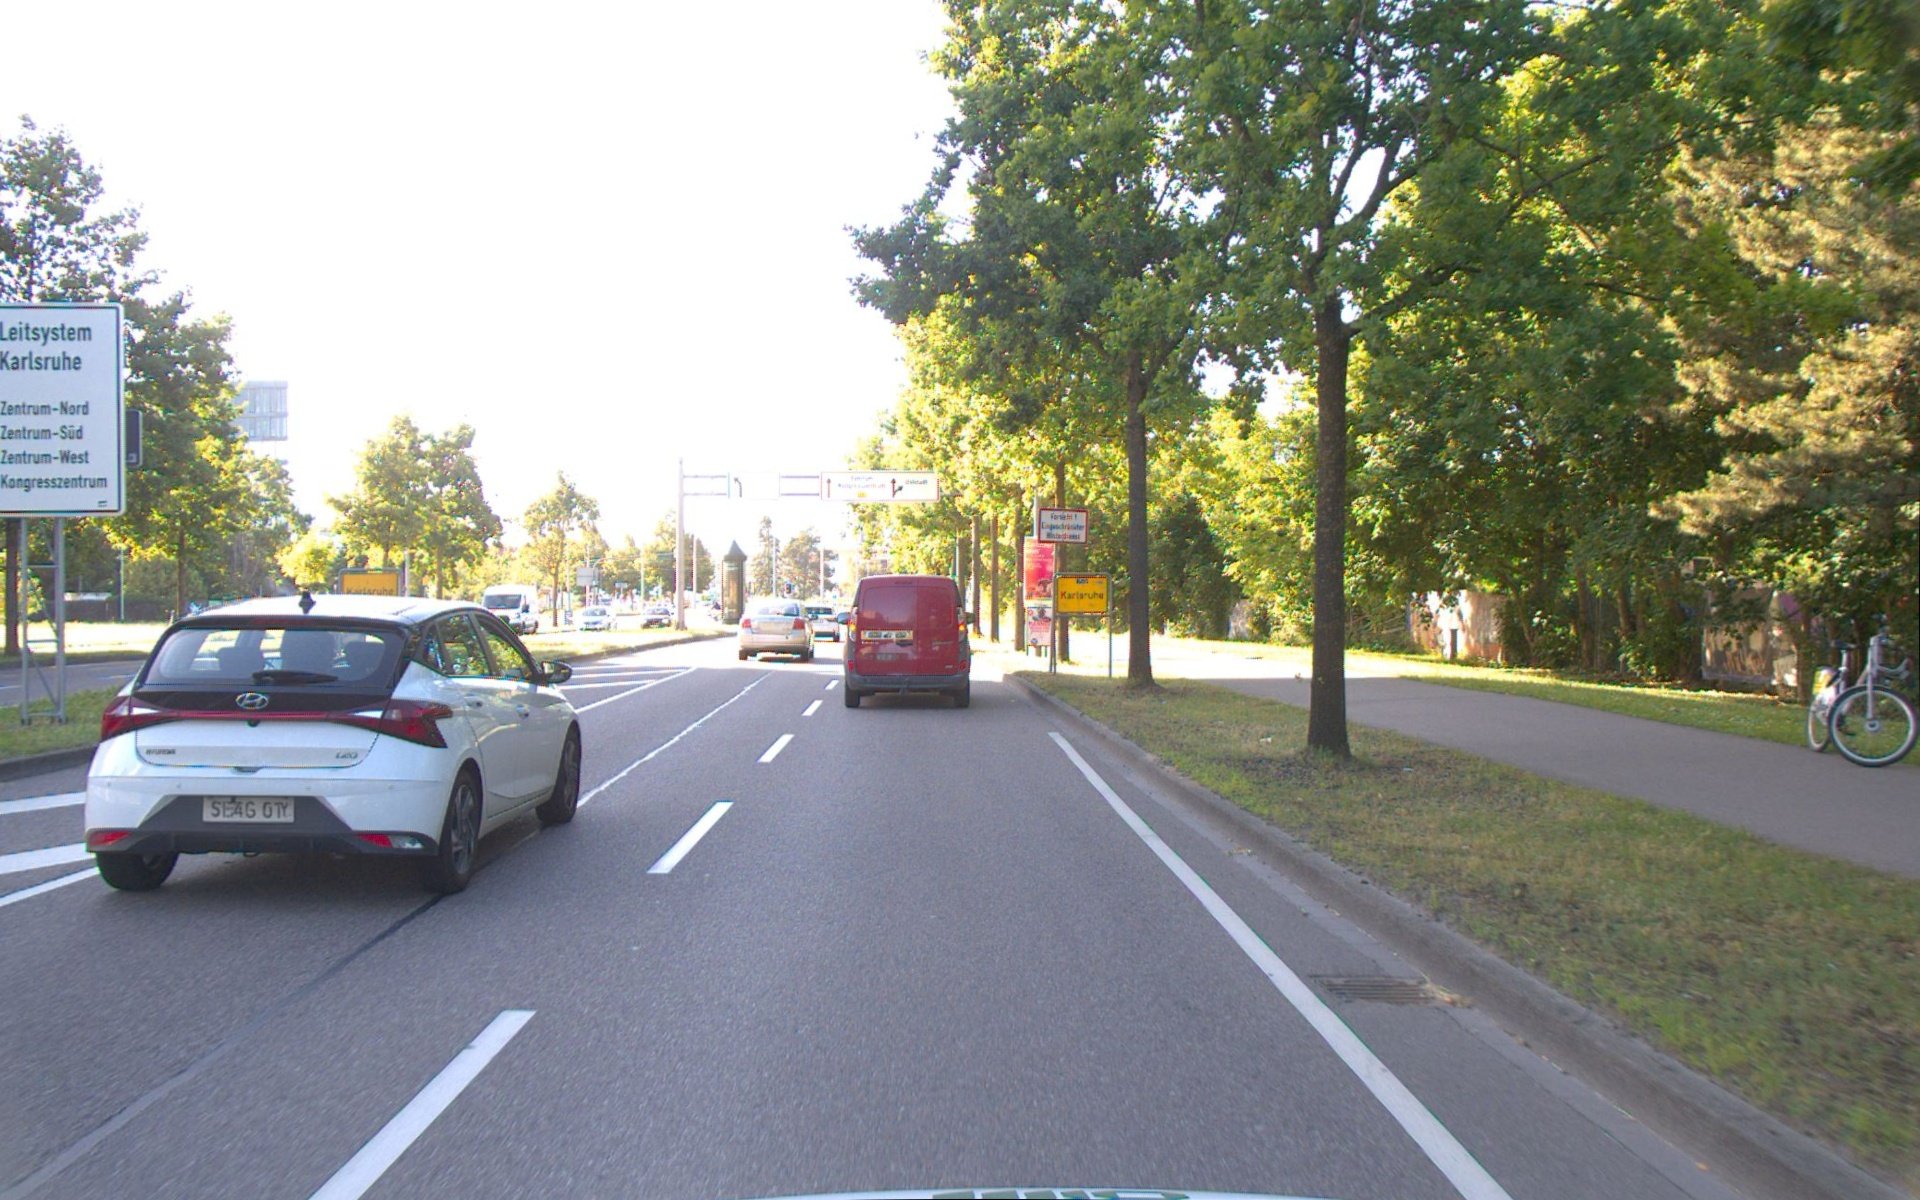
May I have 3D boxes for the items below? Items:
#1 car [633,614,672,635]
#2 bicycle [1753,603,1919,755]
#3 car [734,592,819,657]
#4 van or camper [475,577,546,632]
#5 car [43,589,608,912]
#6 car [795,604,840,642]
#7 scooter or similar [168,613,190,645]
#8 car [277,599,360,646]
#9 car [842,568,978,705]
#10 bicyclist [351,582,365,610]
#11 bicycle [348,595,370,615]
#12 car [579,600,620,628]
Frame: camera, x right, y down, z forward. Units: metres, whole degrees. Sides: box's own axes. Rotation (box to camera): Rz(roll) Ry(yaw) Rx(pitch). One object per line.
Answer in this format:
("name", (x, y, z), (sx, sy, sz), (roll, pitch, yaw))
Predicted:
("car", (-17.952, 1.418, 96.718), (1.792, 1.131, 4.170), (0, 0, -5))
("bicycle", (7.223, 0.606, 13.542), (0.757, 1.151, 1.709), (0, 0, 5))
("car", (-4.478, 0.574, 40.850), (1.804, 1.482, 4.160), (1, 0, -3))
("van or camper", (-20.825, 0.194, 76.882), (1.954, 2.410, 5.989), (-2, 0, -3))
("car", (-3.277, 0.665, 9.461), (1.742, 1.433, 4.073), (1, 0, -2))
("car", (-5.555, 0.877, 64.835), (1.628, 1.422, 3.556), (0, 0, -3))
("scooter or similar", (-28.578, 1.058, 60.513), (0.226, 1.169, 1.327), (0, -1, -3))
("car", (-21.705, 0.733, 56.093), (1.520, 1.534, 4.023), (0, 0, -4))
("car", (-0.767, 0.475, 23.902), (1.770, 1.790, 4.003), (1, 0, -3))
("bicyclist", (-31.131, -0.189, 85.499), (0.472, 1.419, 0.844), (0, -1, -4))
("bicycle", (-31.132, 0.253, 85.666), (0.477, 1.021, 2.094), (0, 0, -4))
("car", (-20.049, 0.756, 92.124), (1.655, 1.502, 4.045), (0, 0, -5))
